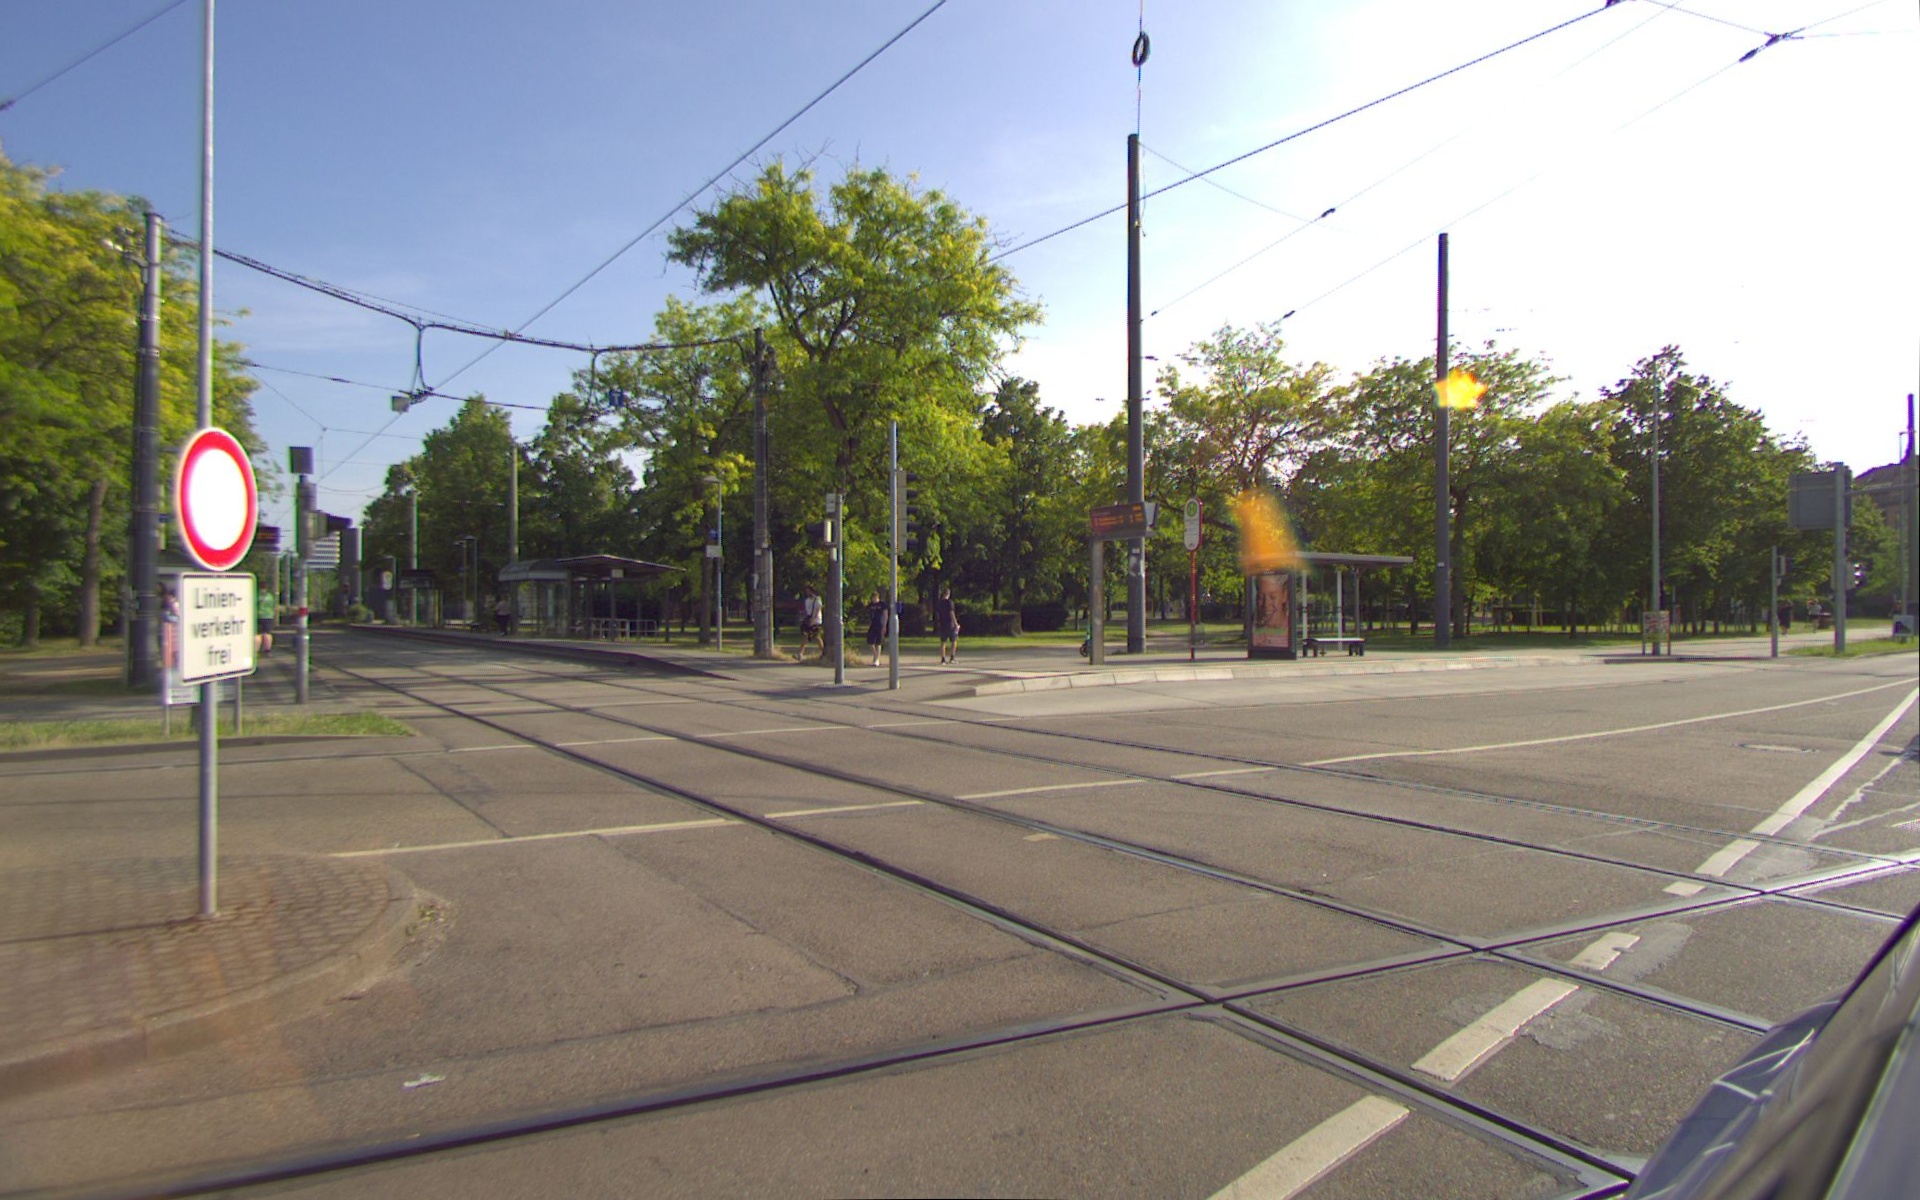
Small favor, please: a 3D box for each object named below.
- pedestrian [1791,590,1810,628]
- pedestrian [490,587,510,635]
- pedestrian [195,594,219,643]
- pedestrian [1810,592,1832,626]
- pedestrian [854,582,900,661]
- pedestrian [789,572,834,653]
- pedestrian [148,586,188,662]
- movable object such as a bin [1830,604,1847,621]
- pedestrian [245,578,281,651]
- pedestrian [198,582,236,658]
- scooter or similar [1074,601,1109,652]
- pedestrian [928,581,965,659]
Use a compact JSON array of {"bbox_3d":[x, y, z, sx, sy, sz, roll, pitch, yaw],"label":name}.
[{"bbox_3d":[38.587,0.404,46.461,0.650,1.722,0.558,0,-1,-38],"label":"pedestrian"},{"bbox_3d":[-18.495,0.445,40.689,0.594,1.892,0.462,-1,-3,-34],"label":"pedestrian"},{"bbox_3d":[-28.953,0.710,38.933,0.598,1.824,0.674,-1,-3,-24],"label":"pedestrian"},{"bbox_3d":[43.099,0.431,50.668,0.649,1.672,0.622,0,-1,-30],"label":"pedestrian"},{"bbox_3d":[-1.955,0.511,23.909,0.668,1.800,0.869,-3,-3,33],"label":"pedestrian"},{"bbox_3d":[-3.653,0.313,24.886,0.666,1.922,0.872,-3,-3,25],"label":"pedestrian"},{"bbox_3d":[-17.335,0.515,22.174,0.678,1.631,0.642,0,-1,-38],"label":"pedestrian"},{"bbox_3d":[49.290,0.709,56.774,0.515,0.915,0.503,-1,-1,1],"label":"movable object such as a bin"},{"bbox_3d":[-16.453,0.345,23.877,0.678,1.686,0.642,0,-1,-38],"label":"pedestrian"},{"bbox_3d":[-16.829,0.449,22.911,0.678,1.686,0.642,0,-1,-38],"label":"pedestrian"},{"bbox_3d":[3.285,0.649,25.190,0.350,1.248,1.120,-1,-1,38],"label":"scooter or similar"},{"bbox_3d":[-0.324,0.477,23.955,0.577,1.800,0.578,1,-4,-42],"label":"pedestrian"}]
